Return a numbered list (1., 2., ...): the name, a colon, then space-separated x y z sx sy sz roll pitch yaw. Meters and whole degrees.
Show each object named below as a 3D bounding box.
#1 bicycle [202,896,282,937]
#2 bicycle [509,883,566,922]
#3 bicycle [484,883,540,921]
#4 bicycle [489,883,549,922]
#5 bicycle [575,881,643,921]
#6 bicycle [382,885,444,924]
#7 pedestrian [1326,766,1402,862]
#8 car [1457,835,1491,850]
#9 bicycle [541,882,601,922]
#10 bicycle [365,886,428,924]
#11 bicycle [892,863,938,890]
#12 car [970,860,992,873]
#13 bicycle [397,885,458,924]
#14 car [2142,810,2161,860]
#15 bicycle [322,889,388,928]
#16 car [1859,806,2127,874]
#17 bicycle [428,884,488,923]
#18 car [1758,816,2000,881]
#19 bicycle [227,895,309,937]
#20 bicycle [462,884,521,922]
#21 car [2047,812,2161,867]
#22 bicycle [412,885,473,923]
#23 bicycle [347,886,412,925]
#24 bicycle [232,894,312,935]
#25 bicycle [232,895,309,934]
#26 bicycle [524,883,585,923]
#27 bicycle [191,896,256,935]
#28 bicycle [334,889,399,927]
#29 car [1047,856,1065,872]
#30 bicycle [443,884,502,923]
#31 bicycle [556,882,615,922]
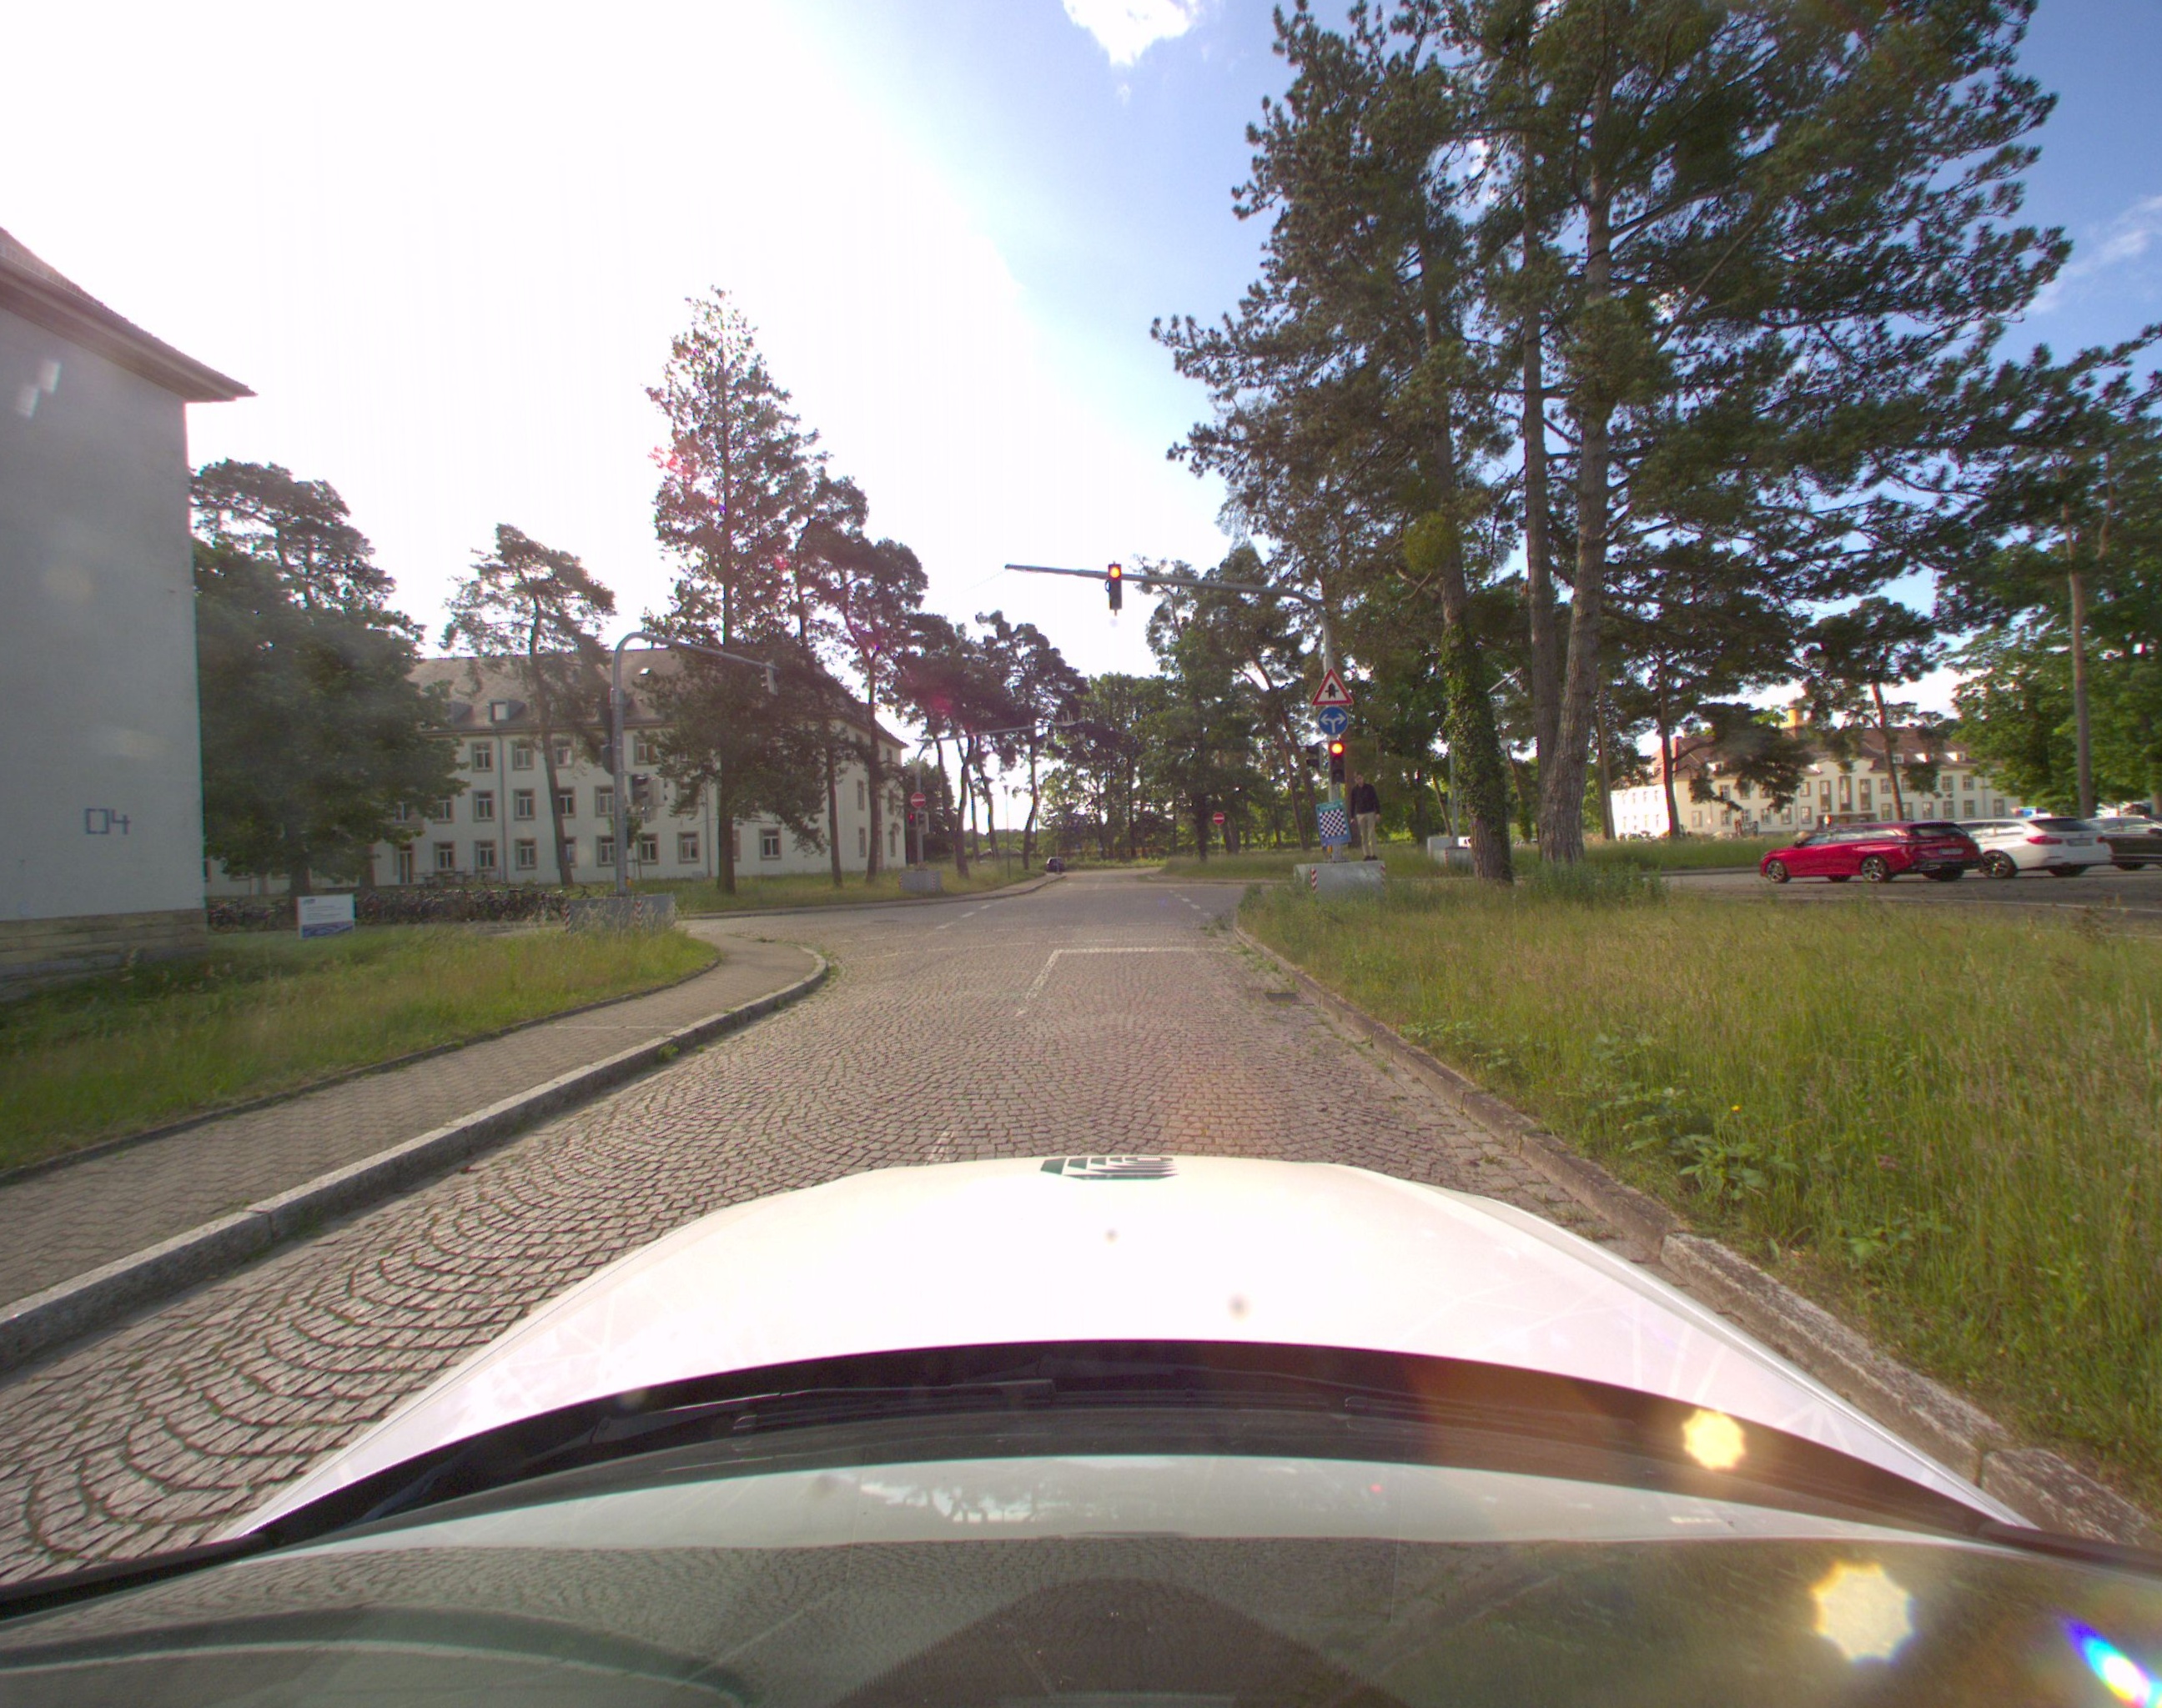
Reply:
1. bicycle: -28.604 2.113 27.794 0.509 1.220 1.841 -3 0 39
2. bicycle: -18.966 1.671 28.473 0.570 1.220 1.990 -2 0 2
3. bicycle: -20.267 1.698 29.049 0.546 1.220 1.900 -2 0 2
4. bicycle: -19.709 1.689 28.617 0.576 1.220 2.030 -2 0 2
5. bicycle: -15.806 1.558 27.271 1.855 1.220 0.635 -2 0 1
6. bicycle: -23.581 1.764 28.782 0.512 1.220 1.938 -2 0 2
7. pedestrian: 5.683 -0.780 16.352 1.157 1.796 1.069 -3 0 31
8. car: 42.886 -1.232 88.983 1.820 1.582 4.165 -2 0 2
9. bicycle: -17.520 1.640 28.053 0.630 1.220 2.125 -2 0 2
10. bicycle: -24.173 1.776 28.812 0.512 1.220 1.938 -2 0 2
11. bicycle: -7.125 0.955 35.012 0.627 1.066 1.963 -3 0 40
12. car: -10.434 1.308 85.277 1.704 1.274 3.918 -3 0 0
13. bicycle: -23.036 1.752 28.750 0.512 1.220 1.938 -2 0 2
14. car: 30.070 -0.537 20.563 1.716 1.372 3.796 -1 0 4
15. bicycle: -25.672 1.900 28.830 0.512 1.220 1.938 -2 0 2
16. car: 22.021 -0.246 19.969 1.773 1.379 4.240 -3 -2 0
17. bicycle: -21.955 1.731 28.752 0.512 1.220 1.978 -2 0 2
18. car: 19.223 -0.082 19.948 1.740 1.399 4.329 -1 -1 2
19. bicycle: -27.113 2.048 27.201 1.836 1.220 0.510 -2 0 -34
20. bicycle: -20.789 1.710 28.784 0.512 1.220 2.016 -2 0 2
21. car: 27.175 -0.393 20.230 1.610 1.315 4.048 -3 0 3
22. bicycle: -22.482 1.740 28.729 0.512 1.220 1.955 -2 0 2
23. bicycle: -24.783 1.790 28.811 0.512 1.220 1.938 -2 0 2
24. bicycle: -27.495 2.049 27.717 1.836 1.220 0.510 -2 0 -34
25. bicycle: -28.568 2.114 28.727 0.509 1.220 1.841 -3 0 39
26. bicycle: -18.124 1.653 28.072 0.630 1.220 2.105 -2 0 2
27. bicycle: -29.931 2.132 28.466 0.514 1.220 1.823 -2 0 -8
28. bicycle: -25.243 1.891 28.822 0.512 1.220 1.938 -2 0 2
29. car: -2.563 1.034 84.324 1.704 1.496 3.918 -3 0 0
30. bicycle: -21.438 1.724 28.749 0.512 1.220 1.978 -2 0 2
31. bicycle: -17.037 1.628 28.053 0.630 1.220 2.115 -2 0 2
